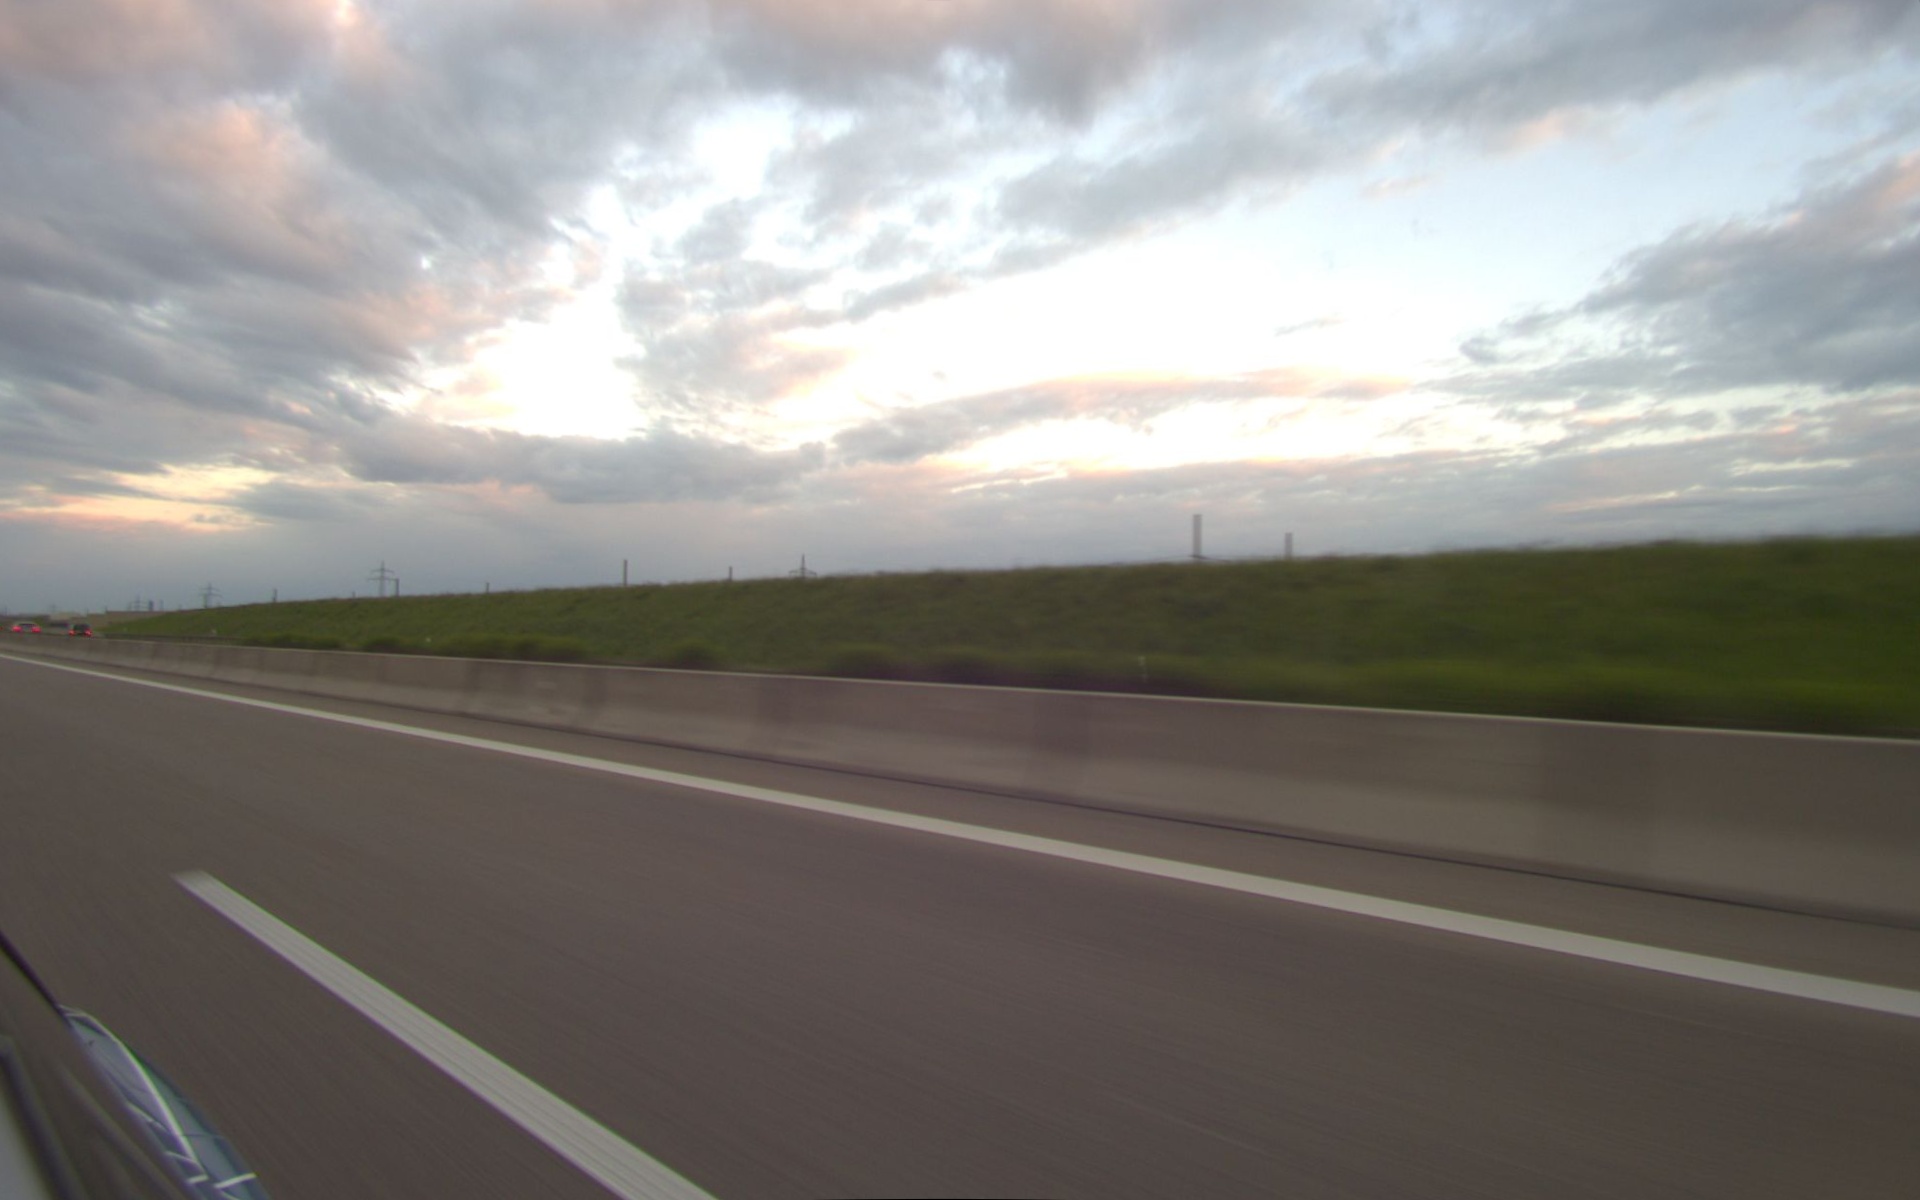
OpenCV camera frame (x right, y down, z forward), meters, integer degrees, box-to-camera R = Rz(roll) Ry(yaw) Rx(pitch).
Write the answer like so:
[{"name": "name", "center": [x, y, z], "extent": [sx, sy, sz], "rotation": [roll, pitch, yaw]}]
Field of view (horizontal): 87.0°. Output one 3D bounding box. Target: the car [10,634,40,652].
[{"name": "car", "center": [-85.080, 3.866, 92.049], "extent": [4.000, 1.612, 1.721], "rotation": [-2, -3, 43]}]

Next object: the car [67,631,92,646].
[{"name": "car", "center": [-101.634, 4.410, 116.773], "extent": [3.596, 1.685, 1.716], "rotation": [-2, -2, 42]}]
